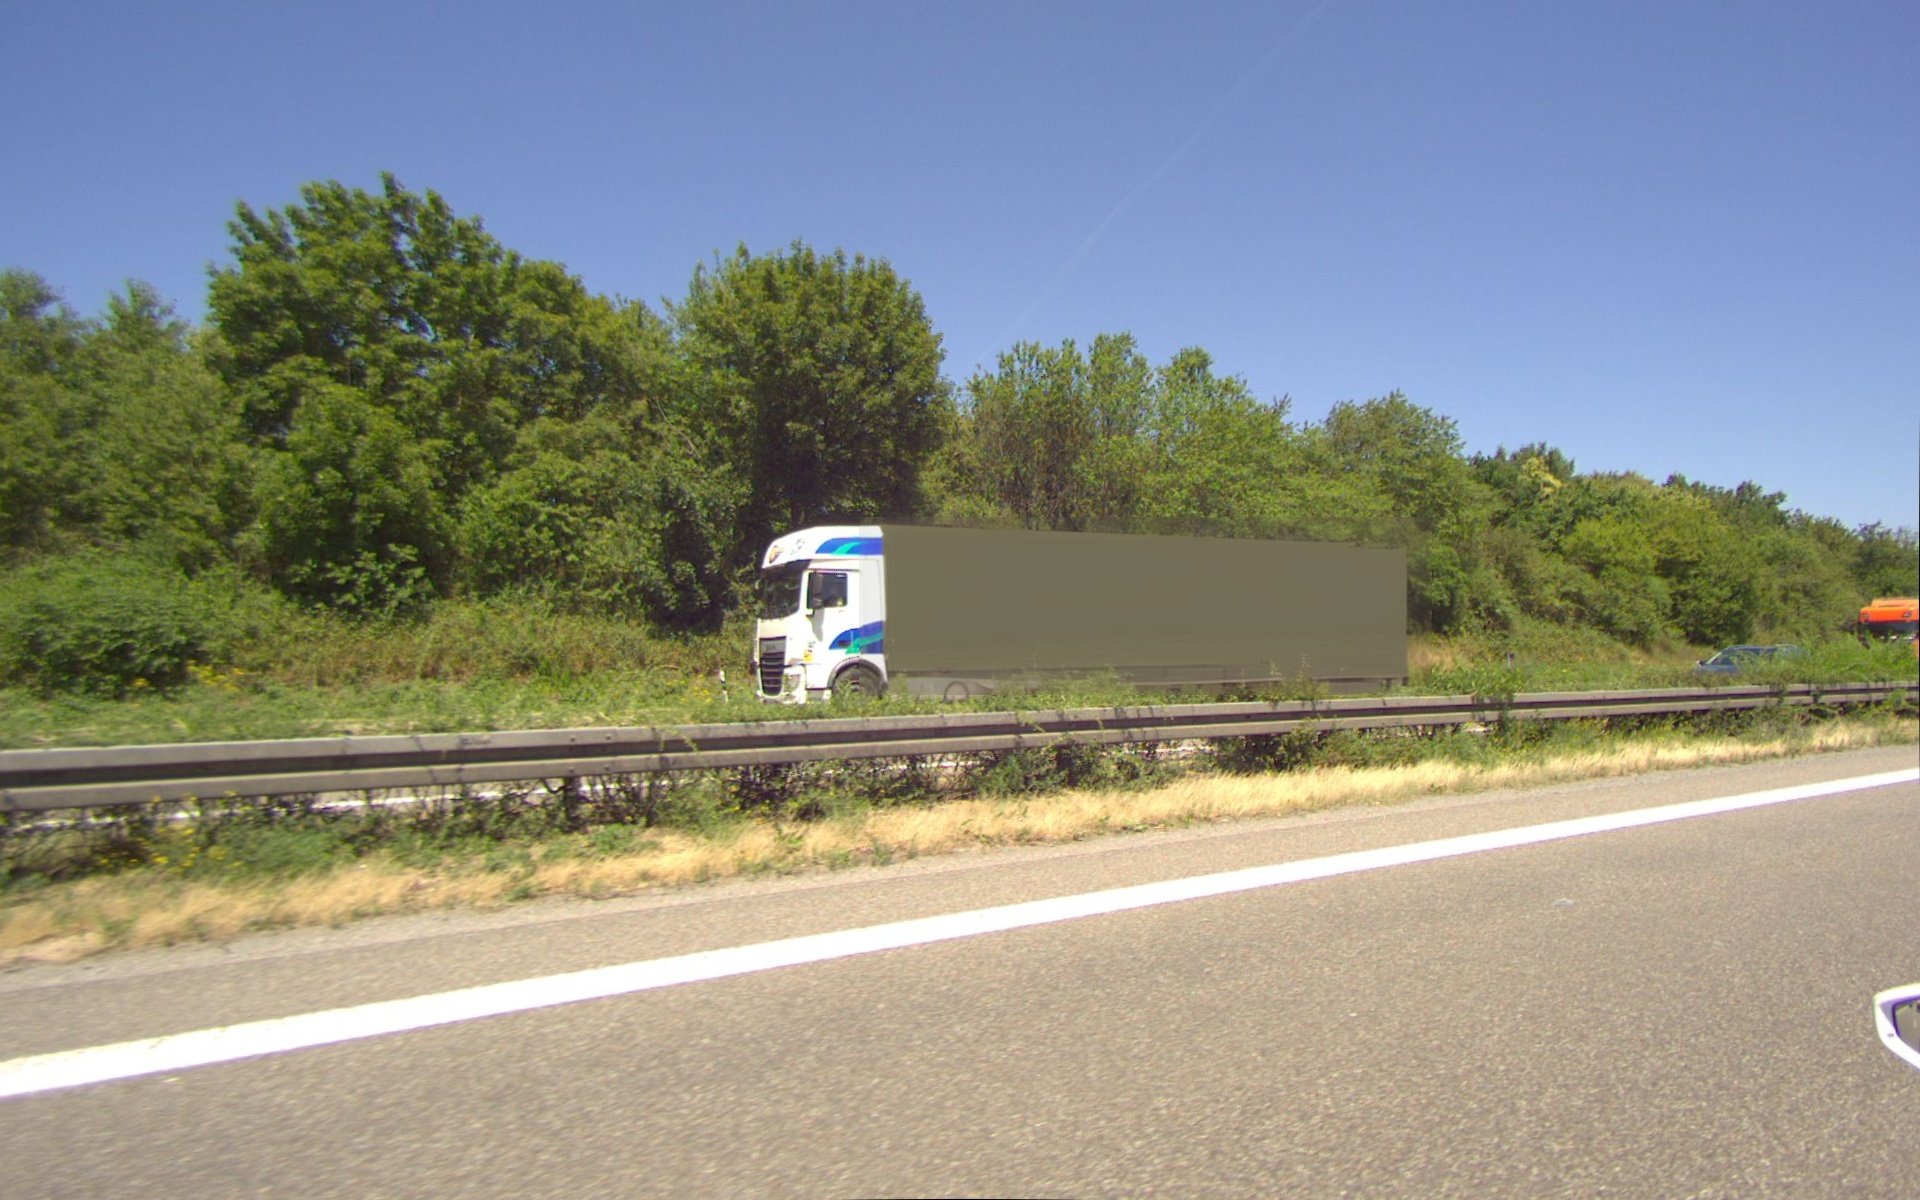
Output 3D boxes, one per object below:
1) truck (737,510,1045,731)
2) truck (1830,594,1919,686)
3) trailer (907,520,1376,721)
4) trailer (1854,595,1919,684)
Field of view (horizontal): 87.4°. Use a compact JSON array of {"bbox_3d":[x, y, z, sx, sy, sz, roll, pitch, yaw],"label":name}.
[{"bbox_3d":[-1.489,0.455,21.986,5.873,4.204,3.179,2,0,-30],"label":"truck"},{"bbox_3d":[45.945,1.911,49.441,5.114,4.287,3.123,2,0,-30],"label":"truck"},{"bbox_3d":[5.095,0.602,25.803,12.835,4.246,3.160,2,0,-30],"label":"trailer"},{"bbox_3d":[52.334,2.092,53.044,14.304,4.305,3.130,2,0,-29],"label":"trailer"}]
